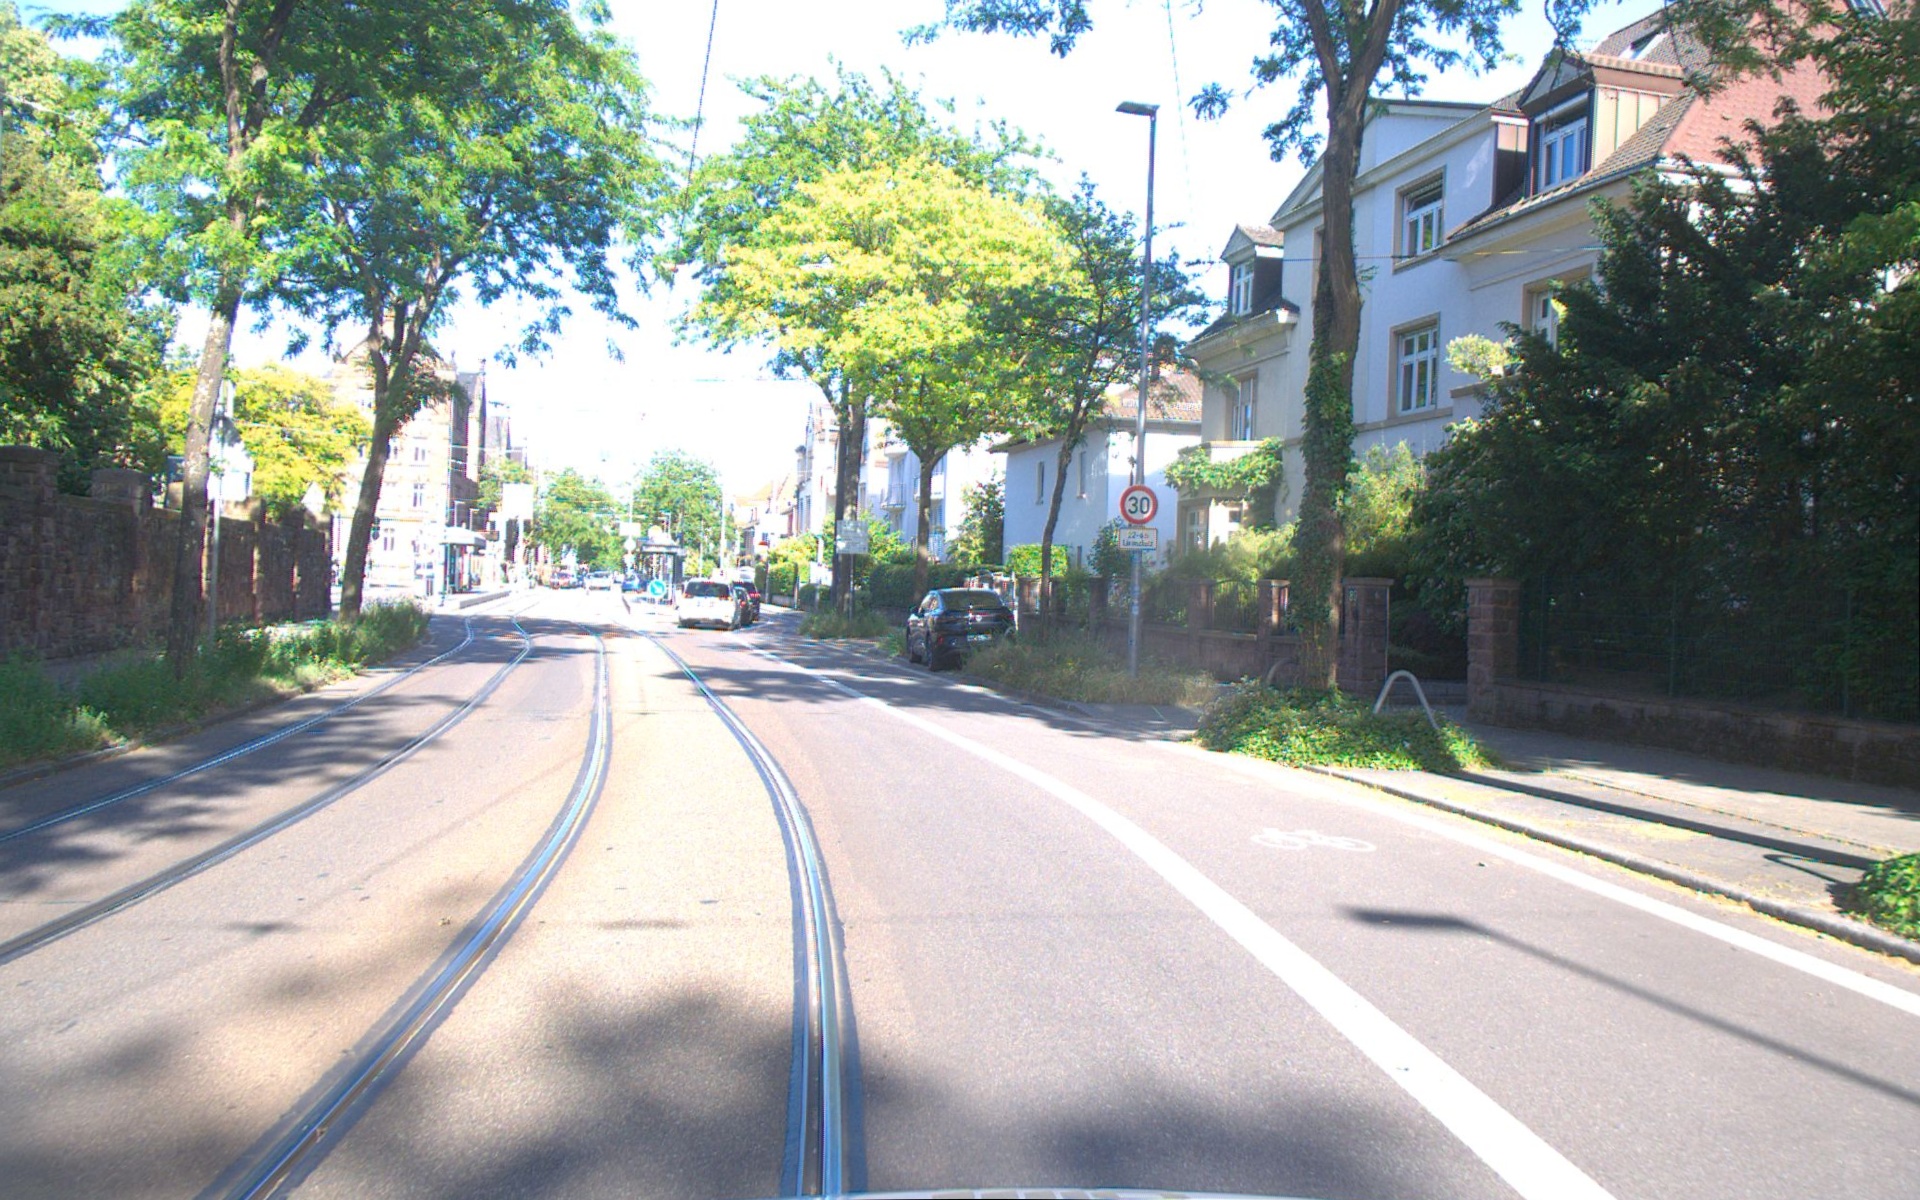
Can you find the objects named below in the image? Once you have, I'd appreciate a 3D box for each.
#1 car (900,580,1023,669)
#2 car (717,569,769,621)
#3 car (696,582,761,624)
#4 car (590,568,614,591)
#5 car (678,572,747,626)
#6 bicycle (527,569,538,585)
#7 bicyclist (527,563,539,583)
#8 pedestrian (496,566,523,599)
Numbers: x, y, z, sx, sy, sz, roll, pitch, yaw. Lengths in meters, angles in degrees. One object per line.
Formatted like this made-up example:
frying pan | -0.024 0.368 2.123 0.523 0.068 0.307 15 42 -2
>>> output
car | -0.052 0.452 35.401 1.772 1.723 4.717 -2 1 -10
car | -8.940 -0.230 68.368 1.674 2.049 3.905 2 0 -2
car | -8.669 0.088 62.197 1.953 1.467 3.998 2 0 -2
car | -32.884 -1.861 152.051 1.958 1.947 3.990 2 0 -11
car | -8.171 -0.007 54.842 1.855 1.639 4.225 2 -1 -4
bicycle | -37.887 -2.054 146.469 0.807 1.319 2.669 2 0 -13
bicyclist | -37.923 -2.389 146.752 0.927 1.764 0.858 2 0 -12
pedestrian | -28.954 -1.115 106.333 1.134 2.049 1.117 2 0 30
